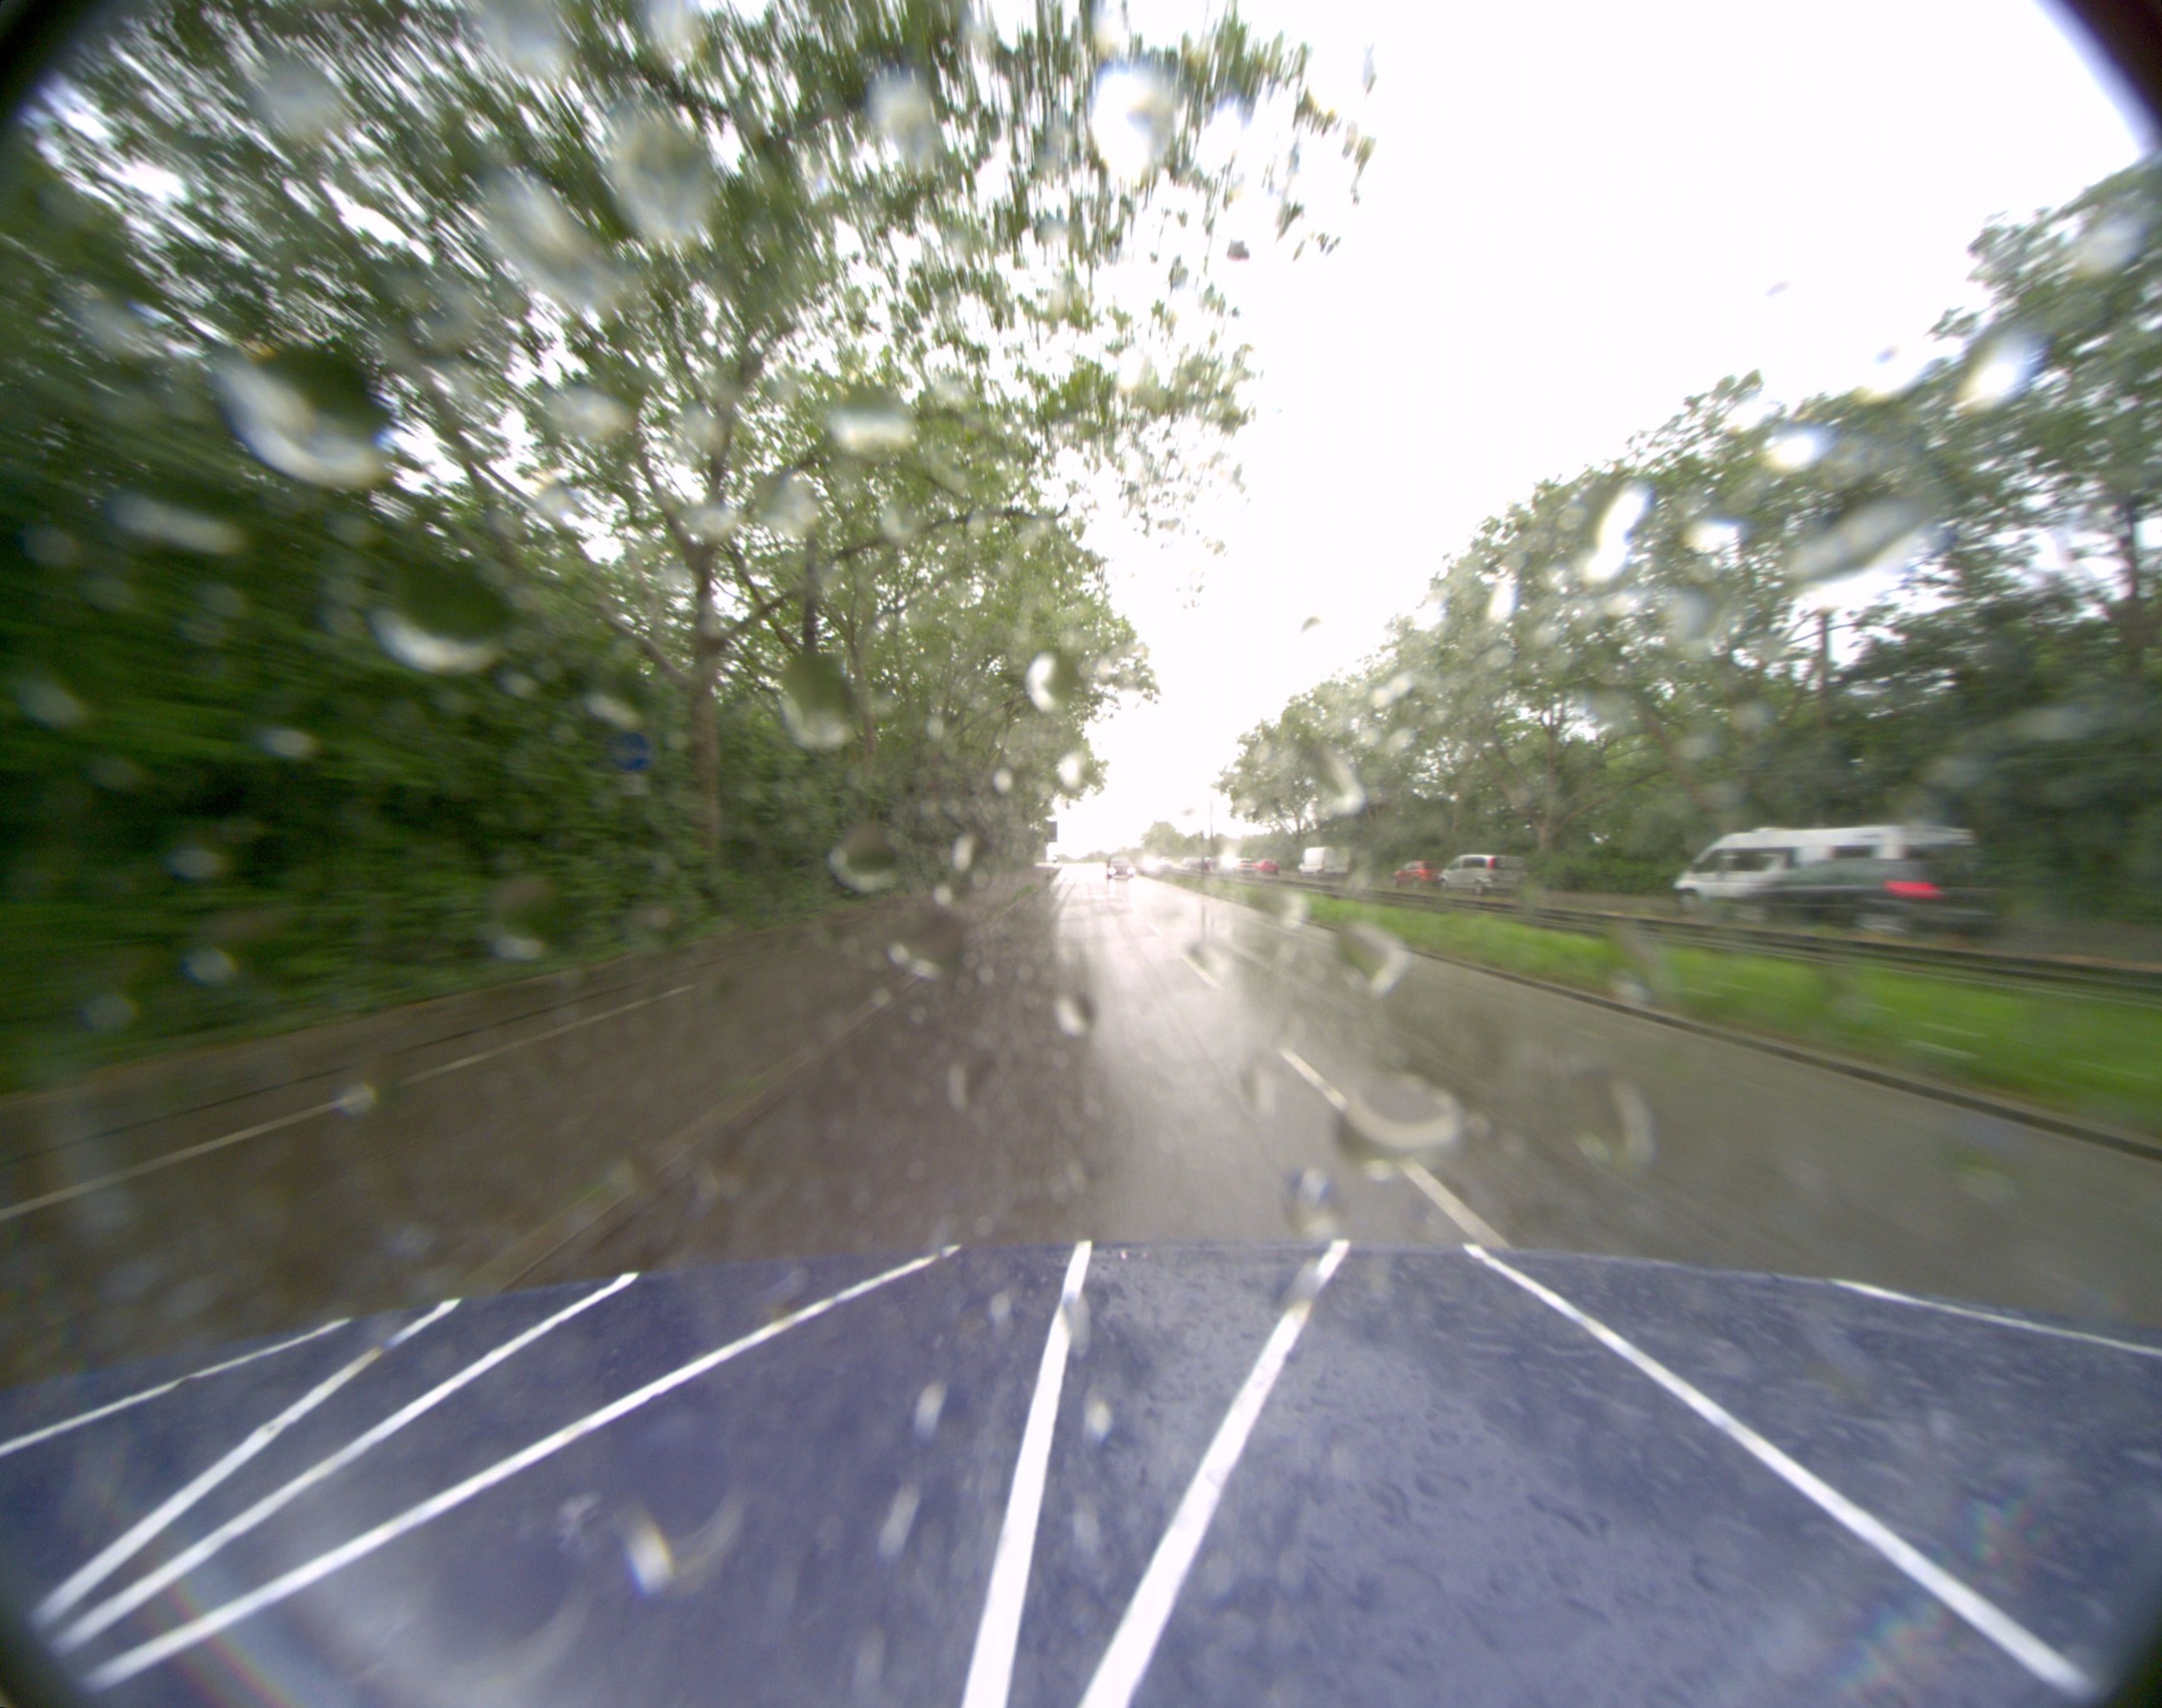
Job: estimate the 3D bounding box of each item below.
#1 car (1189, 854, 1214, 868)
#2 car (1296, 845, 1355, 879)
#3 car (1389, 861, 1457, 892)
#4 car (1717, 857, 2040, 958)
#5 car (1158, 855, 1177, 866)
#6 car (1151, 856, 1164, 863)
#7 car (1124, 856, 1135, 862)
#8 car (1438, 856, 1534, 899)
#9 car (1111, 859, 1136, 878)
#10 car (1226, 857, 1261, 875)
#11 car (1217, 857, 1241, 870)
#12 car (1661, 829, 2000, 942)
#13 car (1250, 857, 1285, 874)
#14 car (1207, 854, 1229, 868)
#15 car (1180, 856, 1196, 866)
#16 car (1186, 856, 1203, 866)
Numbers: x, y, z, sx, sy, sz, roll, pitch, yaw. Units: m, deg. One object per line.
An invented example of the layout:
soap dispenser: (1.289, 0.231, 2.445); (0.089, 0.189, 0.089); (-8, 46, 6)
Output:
car: (13.997, 0.819, 88.216); (2.038, 1.543, 4.566); (0, 0, -1)
car: (18.494, 0.548, 57.851); (2.336, 2.432, 6.137); (1, 0, -2)
car: (18.856, 1.192, 42.112); (1.823, 1.543, 4.024); (1, 0, -1)
car: (15.981, 0.970, 15.650); (2.037, 1.741, 4.258); (1, 0, -3)
car: (13.401, 0.965, 118.096); (2.039, 1.543, 4.995); (1, 0, -3)
car: (16.112, 1.084, 160.082); (2.039, 1.458, 4.917); (0, 0, -3)
car: (11.931, 1.200, 187.265); (2.039, 1.458, 4.917); (0, 0, -3)
car: (19.119, 1.056, 36.156); (1.962, 1.851, 4.639); (1, 0, -1)
car: (3.195, 1.075, 57.810); (1.726, 1.425, 3.851); (0, 0, 0)
car: (14.783, 1.076, 69.306); (1.984, 1.557, 4.767); (1, 0, -3)
car: (17.517, 1.099, 89.931); (1.891, 1.371, 3.964); (1, 0, -2)
car: (19.506, 0.711, 20.505); (2.396, 2.526, 6.564); (1, 0, -3)
car: (17.949, 1.113, 73.275); (2.039, 1.543, 4.383); (1, 0, -3)
car: (17.258, 0.904, 96.044); (1.891, 1.640, 4.368); (1, 0, -2)
car: (16.772, 1.096, 118.985); (1.653, 1.423, 4.151); (1, 0, -4)
car: (17.060, 1.091, 113.938); (1.653, 1.423, 3.924); (1, 0, -5)
